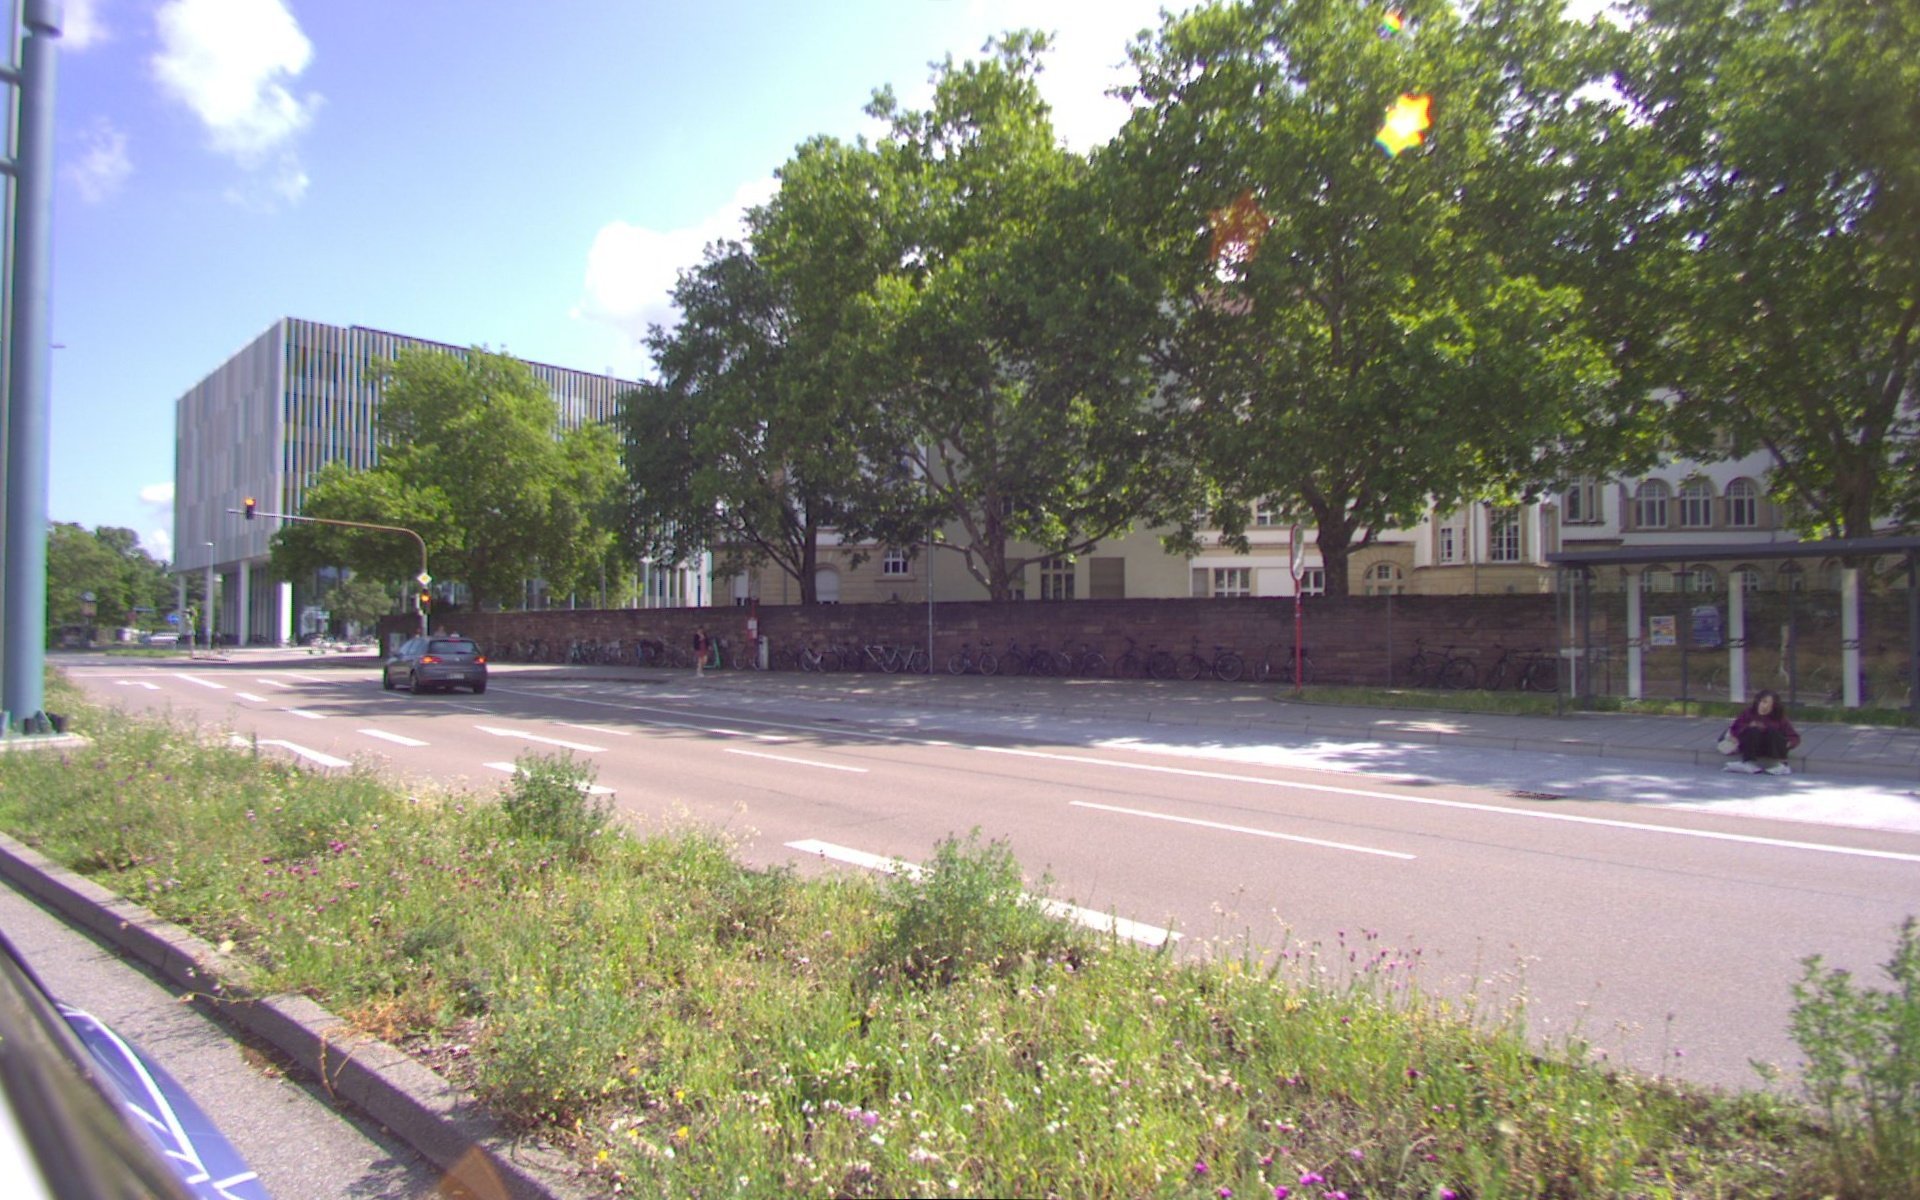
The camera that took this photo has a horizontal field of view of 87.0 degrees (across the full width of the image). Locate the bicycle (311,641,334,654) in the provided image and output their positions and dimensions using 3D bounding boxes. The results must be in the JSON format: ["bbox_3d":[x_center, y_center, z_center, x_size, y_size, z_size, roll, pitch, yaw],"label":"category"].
[{"bbox_3d":[-54.165,4.046,86.006,0.711,1.105,2.221,0,-2,-7],"label":"bicycle"}]

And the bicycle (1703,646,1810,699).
[{"bbox_3d":[16.678,1.501,21.233,1.622,1.081,0.579,-1,-2,25],"label":"bicycle"}]

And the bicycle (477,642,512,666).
[{"bbox_3d":[-21.100,2.450,45.832,1.878,1.056,0.624,-2,-3,37],"label":"bicycle"}]

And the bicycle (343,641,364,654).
[{"bbox_3d":[-51.306,3.993,85.612,0.711,1.105,2.221,0,-2,-7],"label":"bicycle"}]

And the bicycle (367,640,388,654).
[{"bbox_3d":[-49.012,3.958,85.133,0.711,1.105,2.221,0,-2,-7],"label":"bicycle"}]

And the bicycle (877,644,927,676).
[{"bbox_3d":[-1.804,1.841,31.342,1.621,0.962,0.367,-2,-2,31],"label":"bicycle"}]

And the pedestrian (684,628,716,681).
[{"bbox_3d":[-8.084,1.679,31.510,0.744,1.622,0.650,-2,-2,38],"label":"pedestrian"}]

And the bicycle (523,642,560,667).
[{"bbox_3d":[-17.830,2.303,43.113,1.878,1.056,0.559,-2,-3,37],"label":"bicycle"}]

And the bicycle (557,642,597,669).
[{"bbox_3d":[-15.341,2.210,40.565,1.878,1.056,0.586,-2,-3,37],"label":"bicycle"}]

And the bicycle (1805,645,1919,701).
[{"bbox_3d":[18.336,1.452,20.430,1.862,1.081,0.578,-1,-2,30],"label":"bicycle"}]

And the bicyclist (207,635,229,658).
[{"bbox_3d":[-48.680,3.068,66.414,0.931,1.475,0.633,0,-2,-12],"label":"bicyclist"}]

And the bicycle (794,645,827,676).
[{"bbox_3d":[-4.828,1.949,32.645,0.361,0.962,1.629,1,-2,-35],"label":"bicycle"}]

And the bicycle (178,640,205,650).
[{"bbox_3d":[-84.001,4.932,110.641,0.722,1.098,2.189,-2,-3,38],"label":"bicycle"}]

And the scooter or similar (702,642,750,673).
[{"bbox_3d":[-8.318,2.019,35.938,1.878,1.056,0.575,-2,-3,37],"label":"scooter or similar"}]

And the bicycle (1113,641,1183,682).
[{"bbox_3d":[5.011,1.632,27.040,1.745,1.081,0.579,-1,-2,25],"label":"bicycle"}]

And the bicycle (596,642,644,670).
[{"bbox_3d":[-13.234,2.167,39.379,1.868,1.056,0.589,-1,-2,22],"label":"bicycle"}]

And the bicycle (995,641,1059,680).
[{"bbox_3d":[1.897,1.719,28.923,1.749,1.081,0.578,-2,-2,31],"label":"bicycle"}]

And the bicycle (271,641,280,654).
[{"bbox_3d":[-58.100,4.004,85.889,0.539,1.105,1.638,1,-3,-35],"label":"bicycle"}]

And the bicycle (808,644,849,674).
[{"bbox_3d":[-4.309,1.937,33.146,1.397,0.962,0.363,-2,-2,31],"label":"bicycle"}]

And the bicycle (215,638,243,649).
[{"bbox_3d":[-72.455,4.289,100.336,0.722,1.105,2.189,-2,-3,38],"label":"bicycle"}]

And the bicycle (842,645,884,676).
[{"bbox_3d":[-3.105,1.920,32.311,1.397,0.962,0.363,-2,-2,31],"label":"bicycle"}]

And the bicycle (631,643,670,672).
[{"bbox_3d":[-11.659,2.136,38.049,1.878,1.056,0.369,-2,-3,37],"label":"bicycle"}]

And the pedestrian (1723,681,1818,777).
[{"bbox_3d":[9.108,1.428,11.373,0.686,0.970,0.743,1,-2,-45],"label":"pedestrian"}]

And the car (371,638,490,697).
[{"bbox_3d":[-14.106,1.746,26.878,1.680,1.456,4.149,3,-4,-44],"label":"car"}]

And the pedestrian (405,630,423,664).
[{"bbox_3d":[-26.618,2.299,49.341,0.726,1.664,0.554,-2,-3,41],"label":"pedestrian"}]

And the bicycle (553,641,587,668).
[{"bbox_3d":[-16.146,2.242,41.850,1.878,1.056,0.366,-2,-3,37],"label":"bicycle"}]

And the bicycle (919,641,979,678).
[{"bbox_3d":[-0.325,1.757,30.258,1.749,1.081,0.578,-2,-2,31],"label":"bicycle"}]

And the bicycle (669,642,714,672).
[{"bbox_3d":[-9.854,2.074,37.104,1.878,1.056,0.575,-2,-3,37],"label":"bicycle"}]

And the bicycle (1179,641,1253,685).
[{"bbox_3d":[6.598,1.616,26.101,1.745,1.081,0.579,-1,-2,25],"label":"bicycle"}]

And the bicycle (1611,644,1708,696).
[{"bbox_3d":[15.121,1.500,21.916,1.622,1.081,0.579,-1,-2,25],"label":"bicycle"}]

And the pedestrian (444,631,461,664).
[{"bbox_3d":[-23.760,2.214,47.383,0.616,1.551,0.471,-2,-3,41],"label":"pedestrian"}]

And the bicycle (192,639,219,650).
[{"bbox_3d":[-81.037,4.802,108.706,0.722,1.105,2.189,-2,-3,38],"label":"bicycle"}]

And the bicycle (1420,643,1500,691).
[{"bbox_3d":[11.632,1.550,23.576,1.622,1.081,0.579,-1,-2,25],"label":"bicycle"}]

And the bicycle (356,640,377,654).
[{"bbox_3d":[-49.877,3.952,85.024,0.711,1.105,2.221,0,-2,-7],"label":"bicycle"}]

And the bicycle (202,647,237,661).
[{"bbox_3d":[-48.573,3.525,66.399,1.746,0.899,0.639,0,-2,-12],"label":"bicycle"}]

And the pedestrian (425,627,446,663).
[{"bbox_3d":[-24.242,2.077,46.792,0.731,1.664,0.634,-2,-3,41],"label":"pedestrian"}]

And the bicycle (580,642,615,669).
[{"bbox_3d":[-14.575,2.207,40.667,1.878,1.056,0.366,-2,-3,37],"label":"bicycle"}]

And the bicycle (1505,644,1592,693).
[{"bbox_3d":[13.239,1.529,22.815,1.622,1.081,0.579,-1,-2,25],"label":"bicycle"}]

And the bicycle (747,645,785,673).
[{"bbox_3d":[-6.683,2.025,34.780,1.397,0.962,0.363,-2,-2,31],"label":"bicycle"}]

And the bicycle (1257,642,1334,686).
[{"bbox_3d":[8.363,1.582,25.250,1.745,1.081,0.579,-1,-2,25],"label":"bicycle"}]

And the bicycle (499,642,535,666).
[{"bbox_3d":[-19.460,2.365,44.435,1.878,1.056,0.624,-2,-3,37],"label":"bicycle"}]

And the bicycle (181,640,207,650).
[{"bbox_3d":[-83.346,4.912,110.140,0.722,1.105,2.189,-2,-3,38],"label":"bicycle"}]

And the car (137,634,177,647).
[{"bbox_3d":[-104.939,5.296,132.302,3.941,1.699,1.647,2,-3,-45],"label":"car"}]

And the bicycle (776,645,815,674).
[{"bbox_3d":[-5.504,1.987,33.919,1.397,0.962,0.363,-2,-2,31],"label":"bicycle"}]

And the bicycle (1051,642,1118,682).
[{"bbox_3d":[3.448,1.696,28.000,1.748,1.081,0.578,-1,-2,30],"label":"bicycle"}]

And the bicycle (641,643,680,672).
[{"bbox_3d":[-11.331,2.154,38.295,1.878,1.056,0.390,-2,-3,37],"label":"bicycle"}]

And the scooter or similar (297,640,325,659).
[{"bbox_3d":[-41.045,3.129,64.004,0.499,1.166,1.493,-1,-2,18],"label":"scooter or similar"}]

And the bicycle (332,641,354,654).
[{"bbox_3d":[-52.102,4.001,85.524,0.711,1.105,2.221,0,-2,-7],"label":"bicycle"}]

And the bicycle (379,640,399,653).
[{"bbox_3d":[-48.079,3.925,85.225,0.711,1.105,2.221,0,-2,-7],"label":"bicycle"}]
